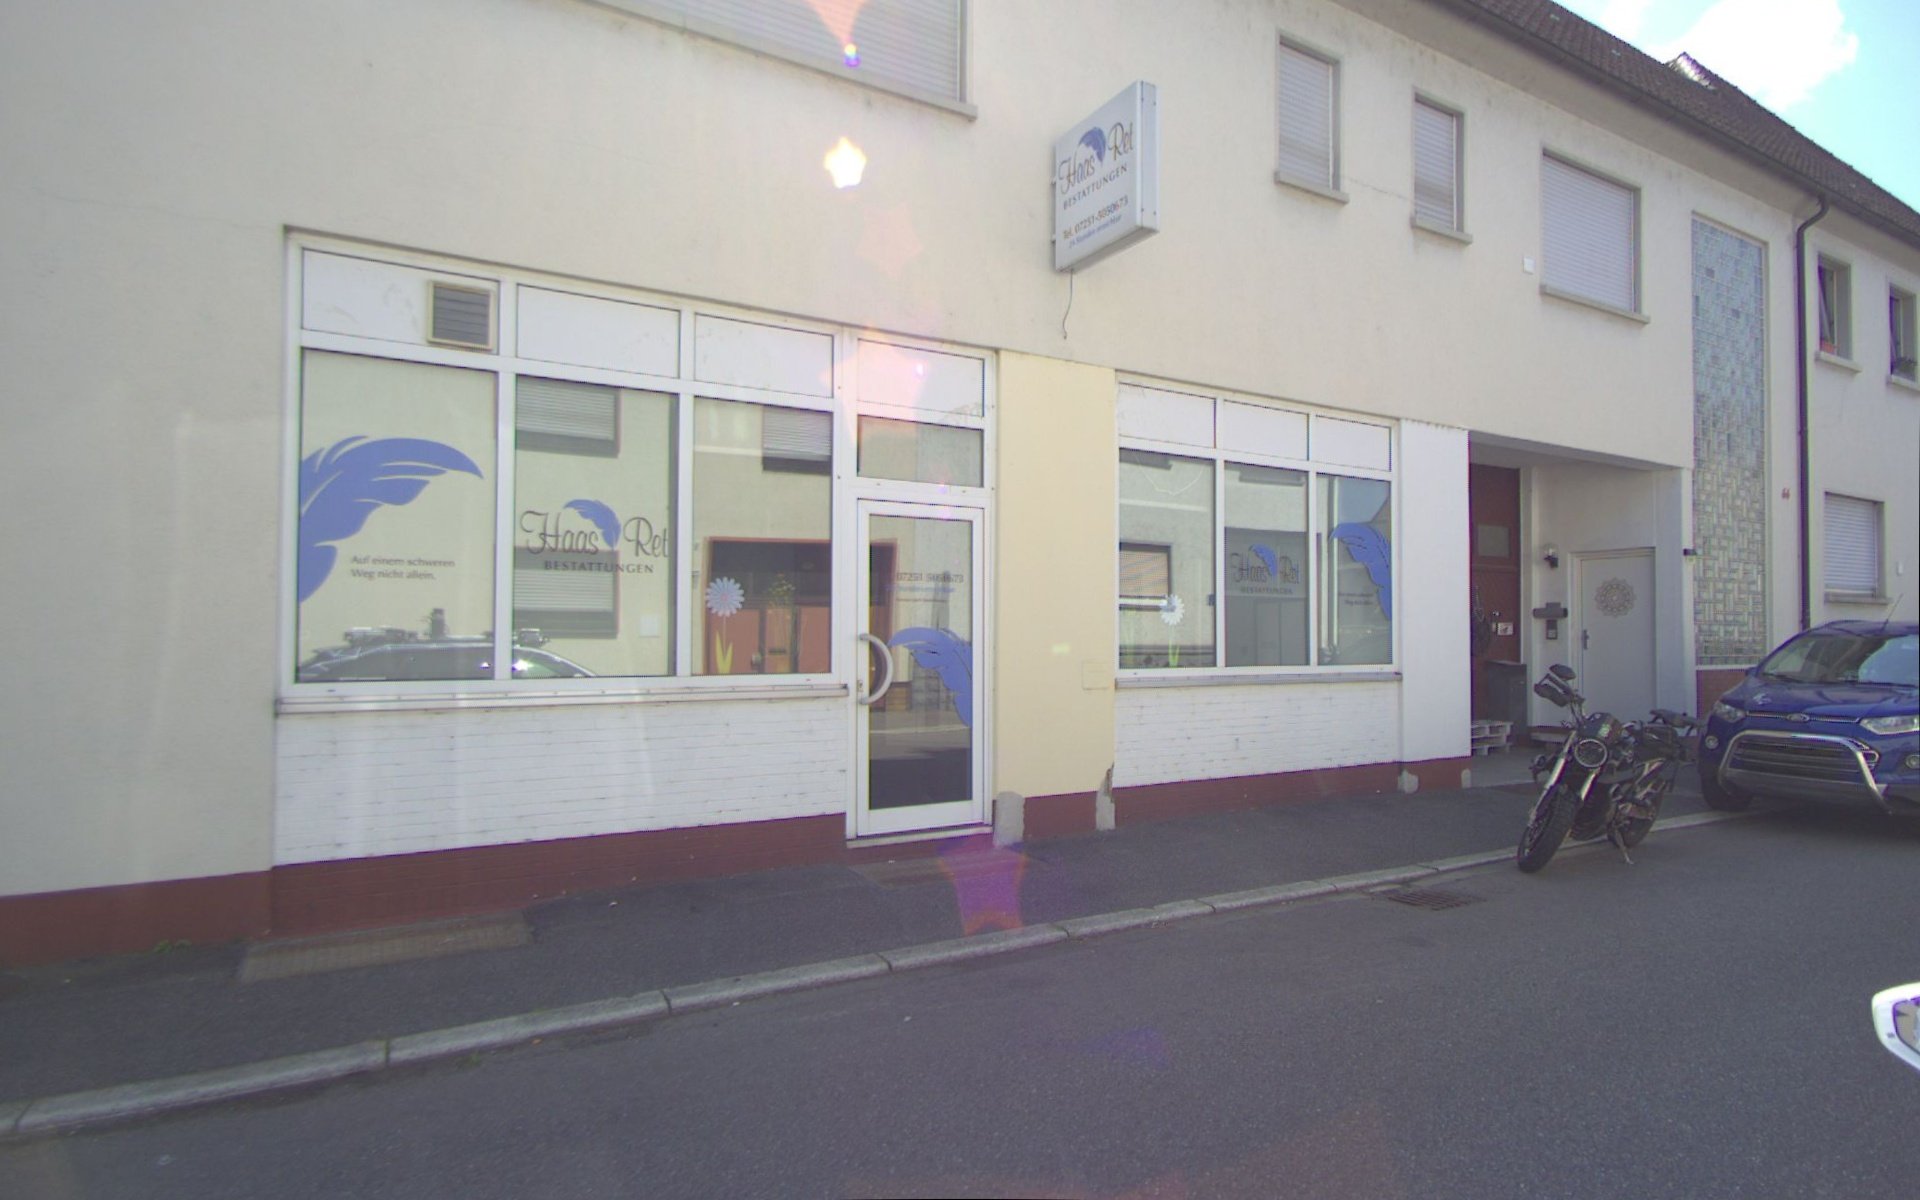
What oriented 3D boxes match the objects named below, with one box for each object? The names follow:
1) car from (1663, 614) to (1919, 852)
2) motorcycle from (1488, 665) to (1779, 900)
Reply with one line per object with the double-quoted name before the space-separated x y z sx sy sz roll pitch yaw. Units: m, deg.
"car" 8.100 1.010 8.721 4.101 1.660 1.709 1 -4 -31
"motorcycle" 4.577 1.129 6.791 2.081 1.330 0.804 1 -2 -30
